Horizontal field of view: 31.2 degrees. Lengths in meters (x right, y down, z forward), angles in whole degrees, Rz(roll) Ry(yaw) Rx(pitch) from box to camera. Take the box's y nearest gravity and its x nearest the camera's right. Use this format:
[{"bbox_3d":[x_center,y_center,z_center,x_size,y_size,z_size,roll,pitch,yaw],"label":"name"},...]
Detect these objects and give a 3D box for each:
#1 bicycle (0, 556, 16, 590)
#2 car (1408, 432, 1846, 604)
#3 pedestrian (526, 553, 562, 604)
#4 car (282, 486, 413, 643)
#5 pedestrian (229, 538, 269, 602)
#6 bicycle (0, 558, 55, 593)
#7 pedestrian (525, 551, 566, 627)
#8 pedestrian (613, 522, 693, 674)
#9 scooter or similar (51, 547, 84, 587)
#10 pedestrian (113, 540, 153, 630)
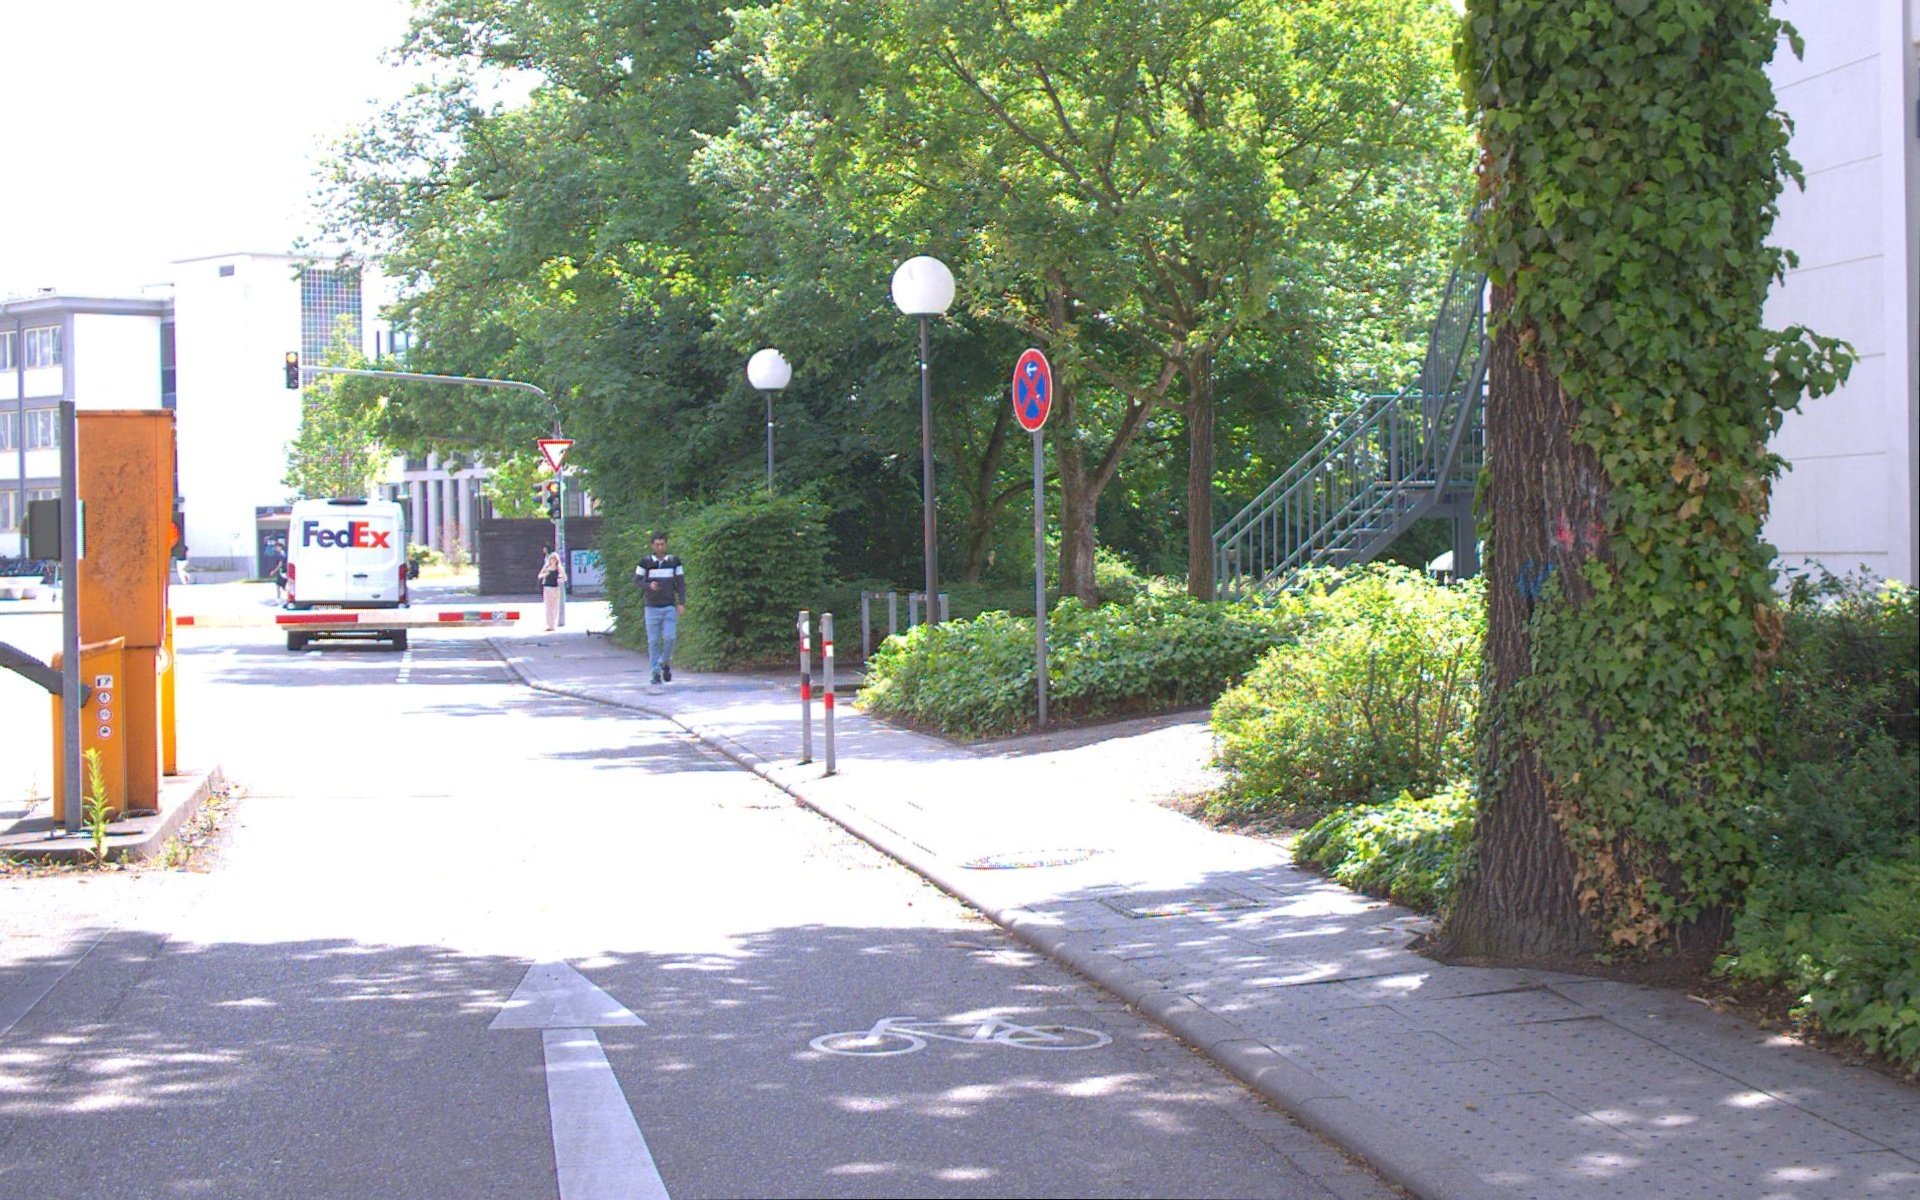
[{"bbox_3d":[-39.049,-1.084,136.157,1.275,1.359,2.958,1,1,44],"label":"bicycle"},{"bbox_3d":[8.084,-0.994,41.893,4.824,2.007,2.062,-1,1,-8],"label":"car"},{"bbox_3d":[-12.496,-0.658,103.345,0.825,1.518,0.815,0,1,-28],"label":"pedestrian"},{"bbox_3d":[-10.550,-0.642,59.391,2.094,2.558,5.604,-1,1,-10],"label":"car"},{"bbox_3d":[-20.731,-0.883,100.259,1.080,1.864,0.833,-1,1,-10],"label":"pedestrian"},{"bbox_3d":[-36.908,-0.946,134.090,1.116,1.359,2.958,1,1,44],"label":"bicycle"},{"bbox_3d":[-8.583,-0.229,71.206,0.731,1.570,0.776,1,0,-14],"label":"pedestrian"},{"bbox_3d":[-3.446,-0.031,38.466,0.739,1.669,1.257,0,1,-12],"label":"pedestrian"},{"bbox_3d":[-26.756,-0.993,103.062,0.716,1.174,2.726,0,1,-20],"label":"scooter or similar"},{"bbox_3d":[-17.116,-0.312,71.198,0.719,1.853,0.770,0,1,-7],"label":"pedestrian"}]
